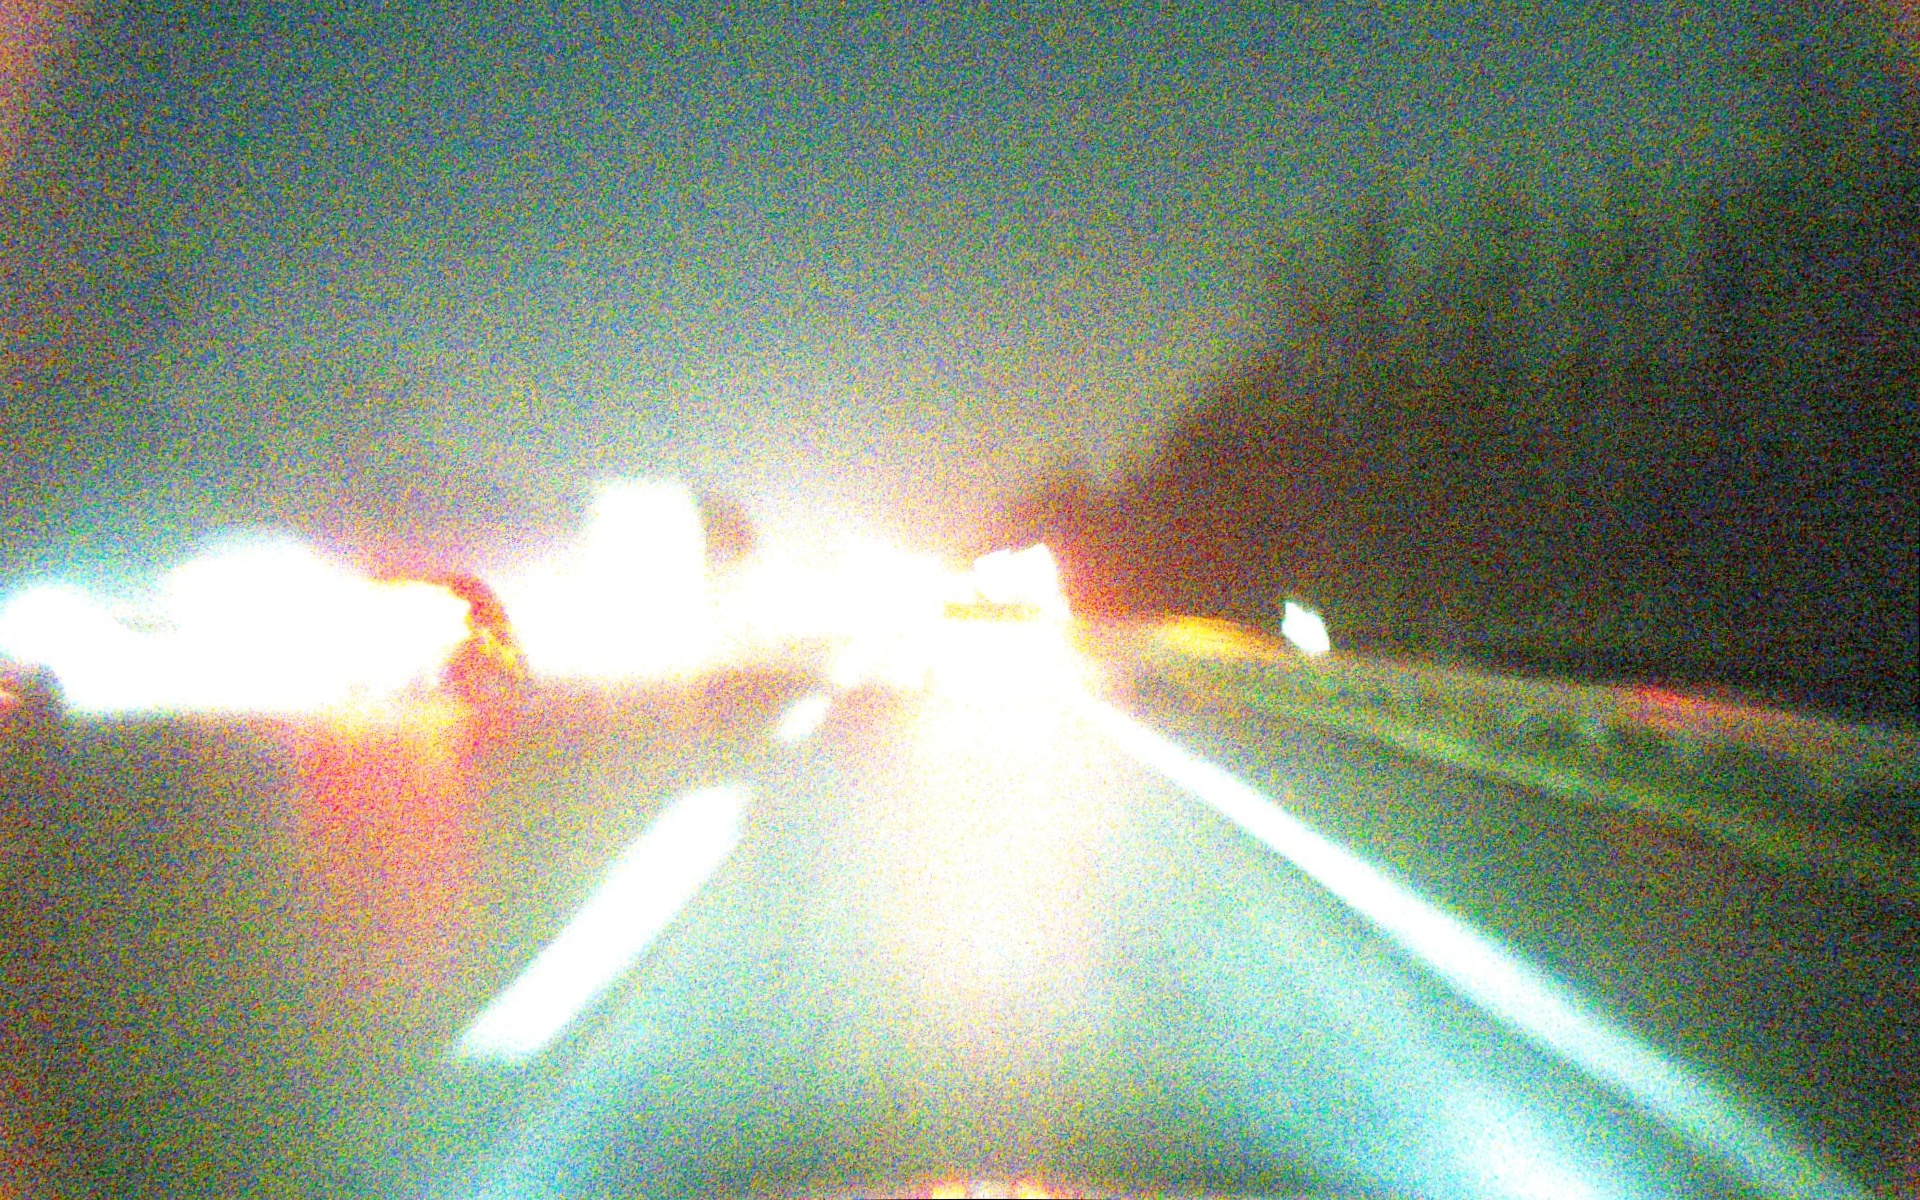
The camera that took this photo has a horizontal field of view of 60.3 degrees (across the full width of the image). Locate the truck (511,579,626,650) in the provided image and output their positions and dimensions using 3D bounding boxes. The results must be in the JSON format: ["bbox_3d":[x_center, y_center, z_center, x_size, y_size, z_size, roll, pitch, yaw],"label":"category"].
[{"bbox_3d":[-13.161,0.465,56.036,2.800,2.239,5.854,1,0,-4],"label":"truck"}]

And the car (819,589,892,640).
[{"bbox_3d":[-4.444,0.599,71.203,2.775,2.049,5.509,1,0,0],"label":"car"}]

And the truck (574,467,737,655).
[{"bbox_3d":[-8.573,-1.013,47.935,3.585,4.820,9.842,1,0,-5],"label":"truck"}]

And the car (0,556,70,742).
[{"bbox_3d":[-9.699,0.454,14.645,1.731,1.718,3.996,1,1,-5],"label":"car"}]

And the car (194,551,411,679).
[{"bbox_3d":[-12.007,0.234,30.694,2.081,2.141,5.625,1,0,-4],"label":"car"}]

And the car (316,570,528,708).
[{"bbox_3d":[-7.718,0.516,24.179,1.999,1.792,4.510,1,0,-6],"label":"car"}]

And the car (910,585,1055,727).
[{"bbox_3d":[0.285,0.720,23.270,1.839,1.793,4.000,1,0,0],"label":"car"}]

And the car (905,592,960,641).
[{"bbox_3d":[-1.022,0.587,61.766,1.953,1.733,4.457,1,0,-1],"label":"car"}]

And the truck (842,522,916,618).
[{"bbox_3d":[-4.864,-1.694,98.368,4.079,5.306,9.947,1,0,-3],"label":"truck"}]

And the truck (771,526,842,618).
[{"bbox_3d":[-9.761,-1.716,106.354,4.170,5.539,10.874,1,0,-4],"label":"truck"}]
